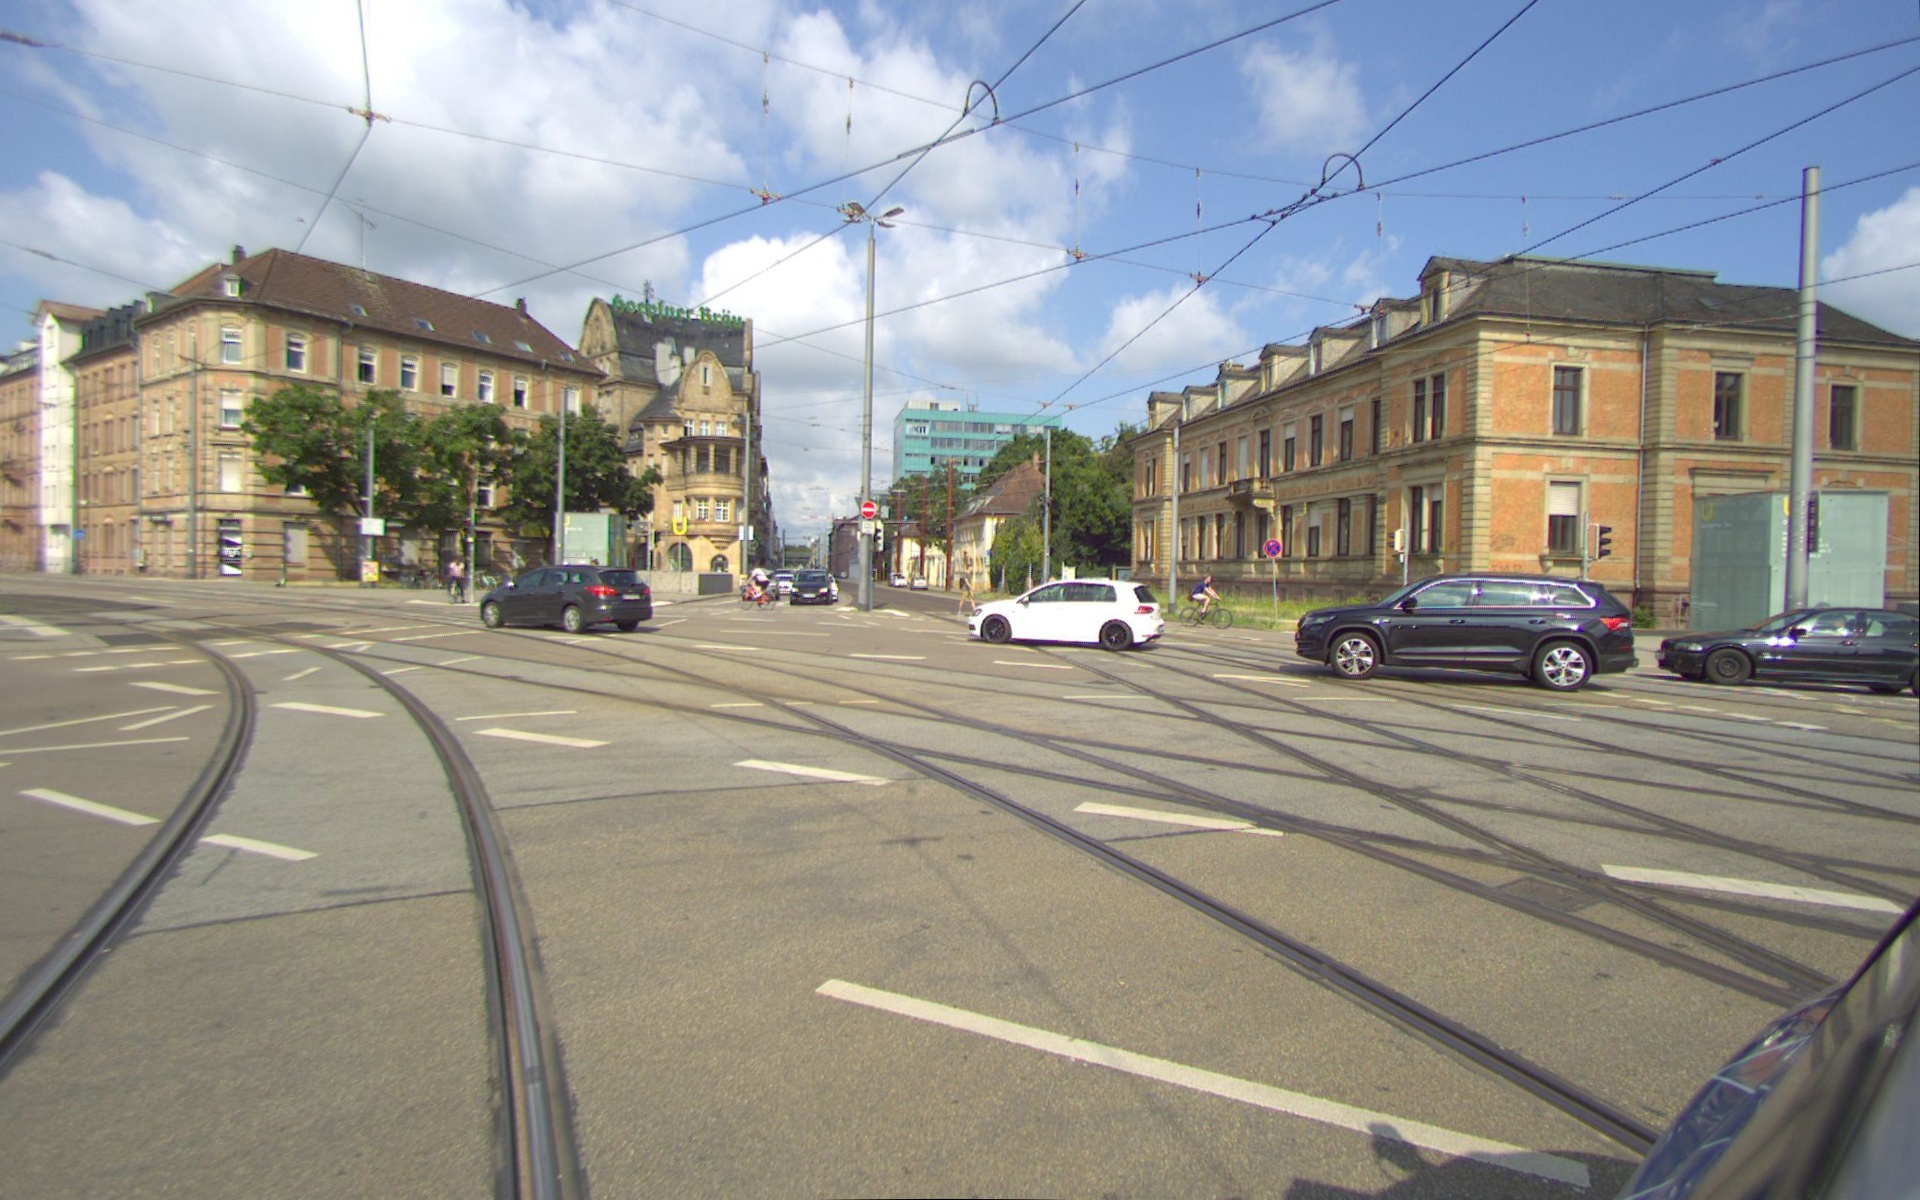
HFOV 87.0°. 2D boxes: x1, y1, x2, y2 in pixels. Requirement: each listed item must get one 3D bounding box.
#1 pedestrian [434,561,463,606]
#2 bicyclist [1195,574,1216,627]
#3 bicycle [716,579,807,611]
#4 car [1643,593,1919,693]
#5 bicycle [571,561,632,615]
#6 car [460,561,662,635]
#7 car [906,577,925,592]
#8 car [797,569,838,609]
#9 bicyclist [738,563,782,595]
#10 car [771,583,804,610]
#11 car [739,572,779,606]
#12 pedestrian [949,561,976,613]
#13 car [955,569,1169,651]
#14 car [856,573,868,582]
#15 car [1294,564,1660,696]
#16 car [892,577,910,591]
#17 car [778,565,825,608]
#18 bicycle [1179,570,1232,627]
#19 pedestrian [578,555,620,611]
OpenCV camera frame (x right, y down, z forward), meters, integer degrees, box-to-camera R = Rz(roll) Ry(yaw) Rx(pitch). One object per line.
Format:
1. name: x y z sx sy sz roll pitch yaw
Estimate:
1. pedestrian: -19.233 -0.619 38.071 0.694 1.662 0.797 1 1 -6
2. bicyclist: 7.956 0.016 32.768 0.647 1.691 0.571 0 2 16
3. bicycle: -7.042 -0.174 35.888 3.069 1.040 0.990 -2 1 20
4. car: 14.090 0.660 16.549 4.456 1.415 1.986 2 1 22
5. bicycle: -12.261 -0.436 34.579 0.993 1.746 2.462 -3 3 -45
6. car: -8.966 -0.111 22.760 4.206 1.547 1.760 1 2 23
7. car: -4.977 -1.756 112.672 1.720 1.549 4.007 1 2 -8
8. car: -7.198 -0.612 51.335 1.959 1.614 4.696 -1 5 -7
9. bicyclist: -7.087 -0.747 35.902 1.199 1.040 0.988 -2 1 19
10. car: -11.129 -0.253 65.417 1.878 1.526 4.007 -1 3 -7
11. car: -10.658 -0.621 53.920 1.719 1.620 4.007 -1 3 -6
12. pedestrian: 0.099 -0.492 36.378 0.872 1.832 0.866 0 2 8
13. car: 2.143 0.159 21.299 4.181 1.464 1.673 3 2 21
14. car: -17.904 -4.070 185.585 1.876 1.625 4.008 1 2 -10
15. car: 7.546 0.360 15.355 4.626 1.689 1.987 2 1 20
16. car: -7.605 -2.073 131.127 1.876 1.791 4.008 1 2 -10
17. car: -7.010 -0.662 45.136 1.959 1.760 4.349 -1 3 -7
18. bicycle: 7.955 -0.060 32.769 1.615 1.799 0.728 0 2 17
19. pedestrian: -12.377 -0.586 34.707 0.992 1.863 0.981 1 3 42
